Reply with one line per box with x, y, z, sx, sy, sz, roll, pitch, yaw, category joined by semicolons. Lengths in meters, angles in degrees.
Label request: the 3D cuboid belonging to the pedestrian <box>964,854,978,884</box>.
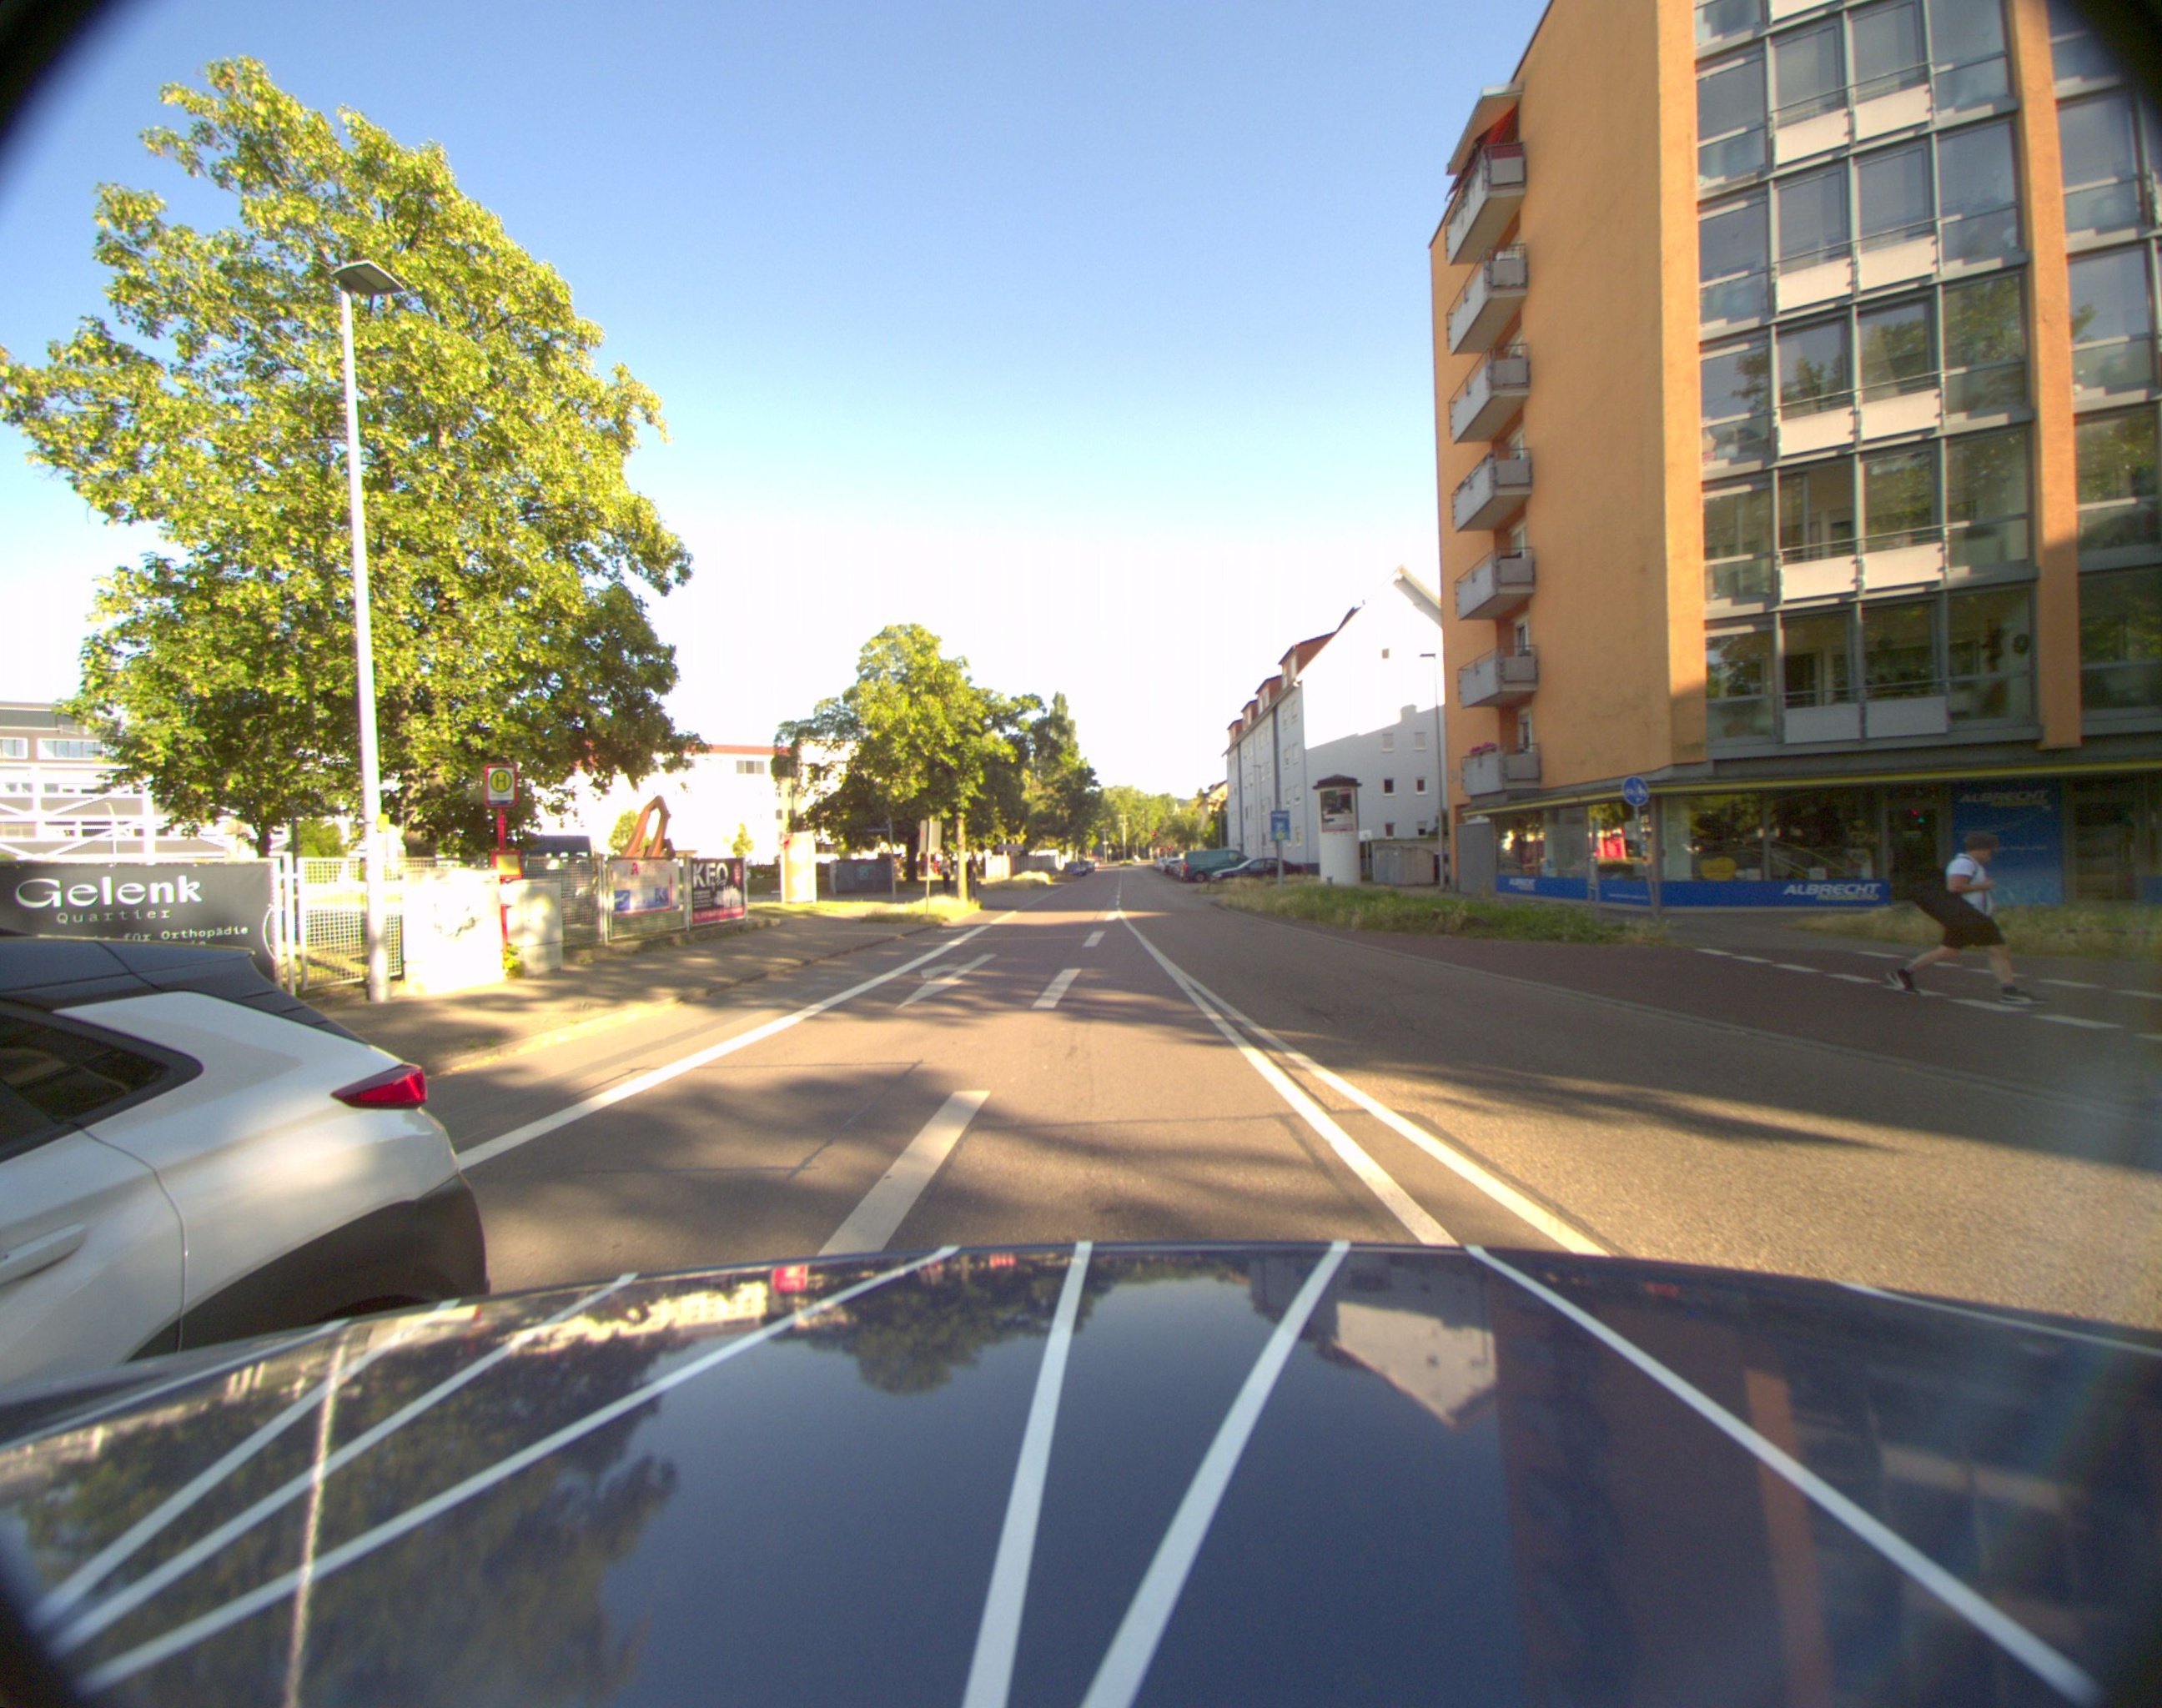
-6.156;0.836;42.525;0.696;1.659;0.638;-2;1;-11;pedestrian

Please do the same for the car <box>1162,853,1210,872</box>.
9.563;0.772;69.378;4.257;1.564;1.867;-2;1;5;car

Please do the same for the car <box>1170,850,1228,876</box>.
8.742;0.661;56.441;4.071;1.741;1.899;-2;1;5;car

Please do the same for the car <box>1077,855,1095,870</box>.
0.563;0.948;87.981;1.998;1.521;3.999;-2;1;1;car

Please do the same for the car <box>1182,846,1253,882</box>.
8.189;0.593;45.943;3.996;1.936;2.000;-2;1;4;car

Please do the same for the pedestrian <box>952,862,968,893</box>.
-5.888;1.135;37.023;0.609;1.426;0.639;-2;1;1;pedestrian

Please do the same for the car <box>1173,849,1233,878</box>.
8.566;0.667;53.698;4.059;1.805;1.937;-2;1;5;car

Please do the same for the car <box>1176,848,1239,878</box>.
8.495;0.586;51.347;3.995;1.805;2.000;-2;1;5;car

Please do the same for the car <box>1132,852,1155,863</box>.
9.697;0.586;118.227;3.538;1.564;1.867;-2;1;5;car

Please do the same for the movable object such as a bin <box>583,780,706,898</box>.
-22.234;-0.704;38.553;3.986;5.447;6.016;-3;1;-42;movable object such as a bin

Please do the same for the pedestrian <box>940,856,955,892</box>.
-6.597;0.980;37.451;0.609;1.727;0.638;-2;1;-5;pedestrian

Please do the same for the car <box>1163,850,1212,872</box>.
9.269;0.607;66.492;4.117;1.762;1.757;-2;1;5;car

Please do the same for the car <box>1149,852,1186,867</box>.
10.218;0.643;90.194;4.257;1.564;1.867;-2;1;5;car

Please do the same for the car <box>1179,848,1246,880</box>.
8.351;0.623;48.591;3.995;1.805;2.000;-2;1;5;car

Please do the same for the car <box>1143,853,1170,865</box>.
10.461;0.701;105.246;3.538;1.564;1.867;-2;1;5;car

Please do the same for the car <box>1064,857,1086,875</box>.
-0.592;1.148;73.948;1.998;1.521;3.999;-2;1;1;car

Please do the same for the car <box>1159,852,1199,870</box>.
10.254;0.723;80.071;4.071;1.741;1.899;-2;1;5;car

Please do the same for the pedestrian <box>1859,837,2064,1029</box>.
8.772;0.720;7.607;0.903;1.727;1.086;-3;1;-21;pedestrian

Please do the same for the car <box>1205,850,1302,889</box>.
8.292;0.731;36.878;4.423;1.652;2.001;-2;1;9;car

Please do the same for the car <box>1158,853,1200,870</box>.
10.302;0.754;79.935;4.257;1.564;1.867;-2;1;5;car

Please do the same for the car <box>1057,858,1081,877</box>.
-1.095;1.216;69.600;1.998;1.521;3.999;-2;1;1;car
